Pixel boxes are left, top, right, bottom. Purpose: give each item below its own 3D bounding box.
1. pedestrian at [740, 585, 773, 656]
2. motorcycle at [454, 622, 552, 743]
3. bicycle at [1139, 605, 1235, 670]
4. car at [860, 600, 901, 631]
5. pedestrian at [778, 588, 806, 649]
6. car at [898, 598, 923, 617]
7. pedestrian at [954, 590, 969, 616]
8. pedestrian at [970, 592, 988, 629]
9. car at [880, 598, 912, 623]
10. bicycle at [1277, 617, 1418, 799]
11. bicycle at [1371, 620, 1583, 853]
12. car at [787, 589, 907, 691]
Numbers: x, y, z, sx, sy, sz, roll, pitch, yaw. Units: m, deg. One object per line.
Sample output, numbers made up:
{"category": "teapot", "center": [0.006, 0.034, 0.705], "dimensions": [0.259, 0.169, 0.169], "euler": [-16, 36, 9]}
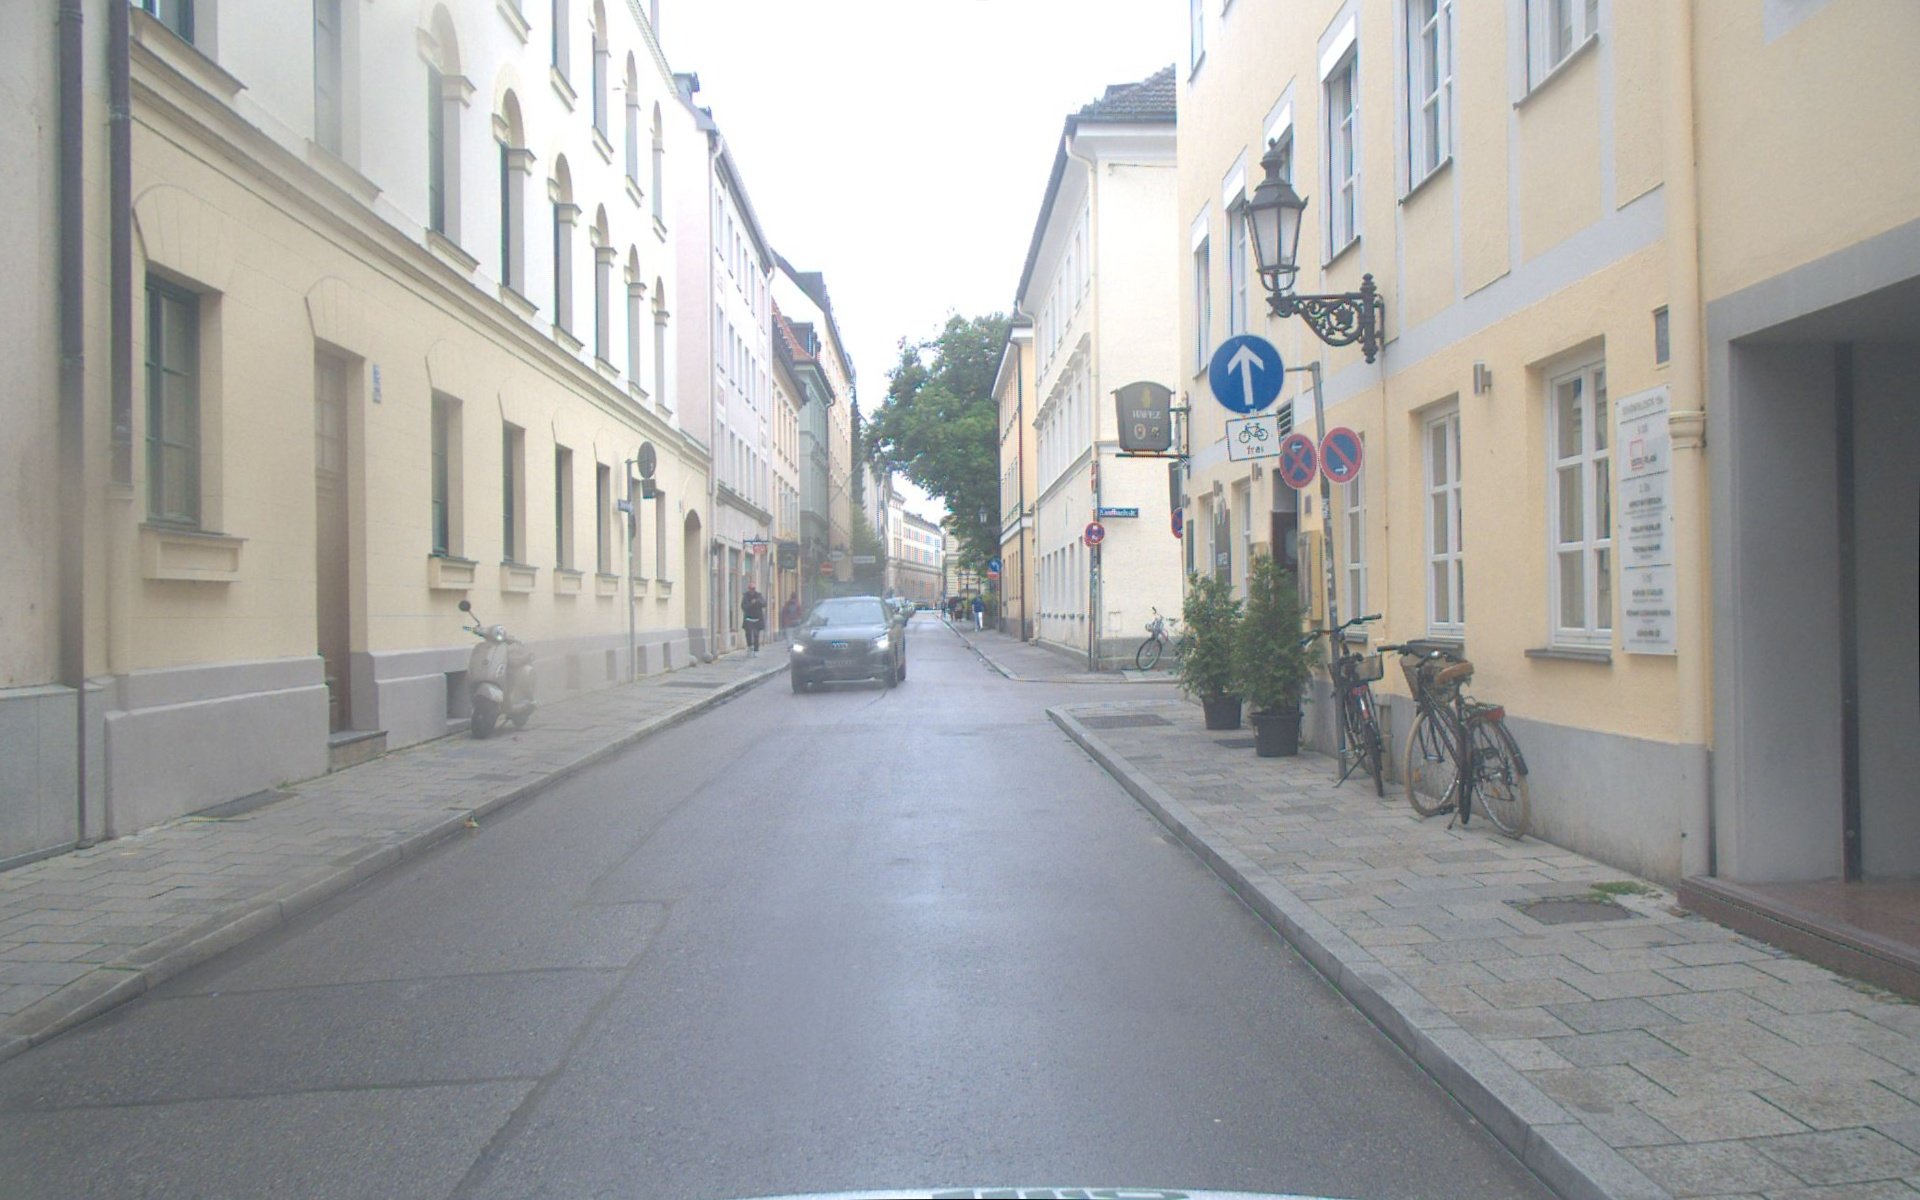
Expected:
{"category": "pedestrian", "center": [-5.192, 0.509, 42.238], "dimensions": [0.793, 1.786, 0.989], "euler": [0, 1, -4]}
{"category": "motorcycle", "center": [-4.830, 0.847, 17.570], "dimensions": [0.590, 1.194, 1.708], "euler": [0, 0, -1]}
{"category": "bicycle", "center": [4.332, 0.706, 31.596], "dimensions": [1.722, 1.164, 0.586], "euler": [-1, 2, -1]}
{"category": "car", "center": [-3.849, 0.753, 80.881], "dimensions": [1.742, 1.492, 3.663], "euler": [0, 0, 1]}
{"category": "pedestrian", "center": [-4.888, 0.542, 48.057], "dimensions": [0.750, 1.738, 0.785], "euler": [-1, 0, -4]}
{"category": "car", "center": [-3.876, 0.588, 130.640], "dimensions": [1.742, 1.492, 3.542], "euler": [0, 0, 1]}
{"category": "pedestrian", "center": [0.109, 0.199, 115.687], "dimensions": [0.995, 1.833, 1.349], "euler": [0, 0, -1]}
{"category": "pedestrian", "center": [0.968, 0.536, 84.016], "dimensions": [0.862, 1.833, 1.046], "euler": [0, 0, -1]}
{"category": "car", "center": [-3.874, 0.630, 100.910], "dimensions": [1.742, 1.492, 3.542], "euler": [0, 0, 1]}
{"category": "bicycle", "center": [2.741, 0.729, 11.843], "dimensions": [0.554, 1.156, 1.684], "euler": [-3, 0, 0]}
{"category": "bicycle", "center": [2.948, 0.724, 9.628], "dimensions": [0.554, 1.156, 1.987], "euler": [-3, 0, 0]}
{"category": "car", "center": [-1.881, 0.635, 28.631], "dimensions": [1.775, 1.621, 4.000], "euler": [-1, 0, 0]}
